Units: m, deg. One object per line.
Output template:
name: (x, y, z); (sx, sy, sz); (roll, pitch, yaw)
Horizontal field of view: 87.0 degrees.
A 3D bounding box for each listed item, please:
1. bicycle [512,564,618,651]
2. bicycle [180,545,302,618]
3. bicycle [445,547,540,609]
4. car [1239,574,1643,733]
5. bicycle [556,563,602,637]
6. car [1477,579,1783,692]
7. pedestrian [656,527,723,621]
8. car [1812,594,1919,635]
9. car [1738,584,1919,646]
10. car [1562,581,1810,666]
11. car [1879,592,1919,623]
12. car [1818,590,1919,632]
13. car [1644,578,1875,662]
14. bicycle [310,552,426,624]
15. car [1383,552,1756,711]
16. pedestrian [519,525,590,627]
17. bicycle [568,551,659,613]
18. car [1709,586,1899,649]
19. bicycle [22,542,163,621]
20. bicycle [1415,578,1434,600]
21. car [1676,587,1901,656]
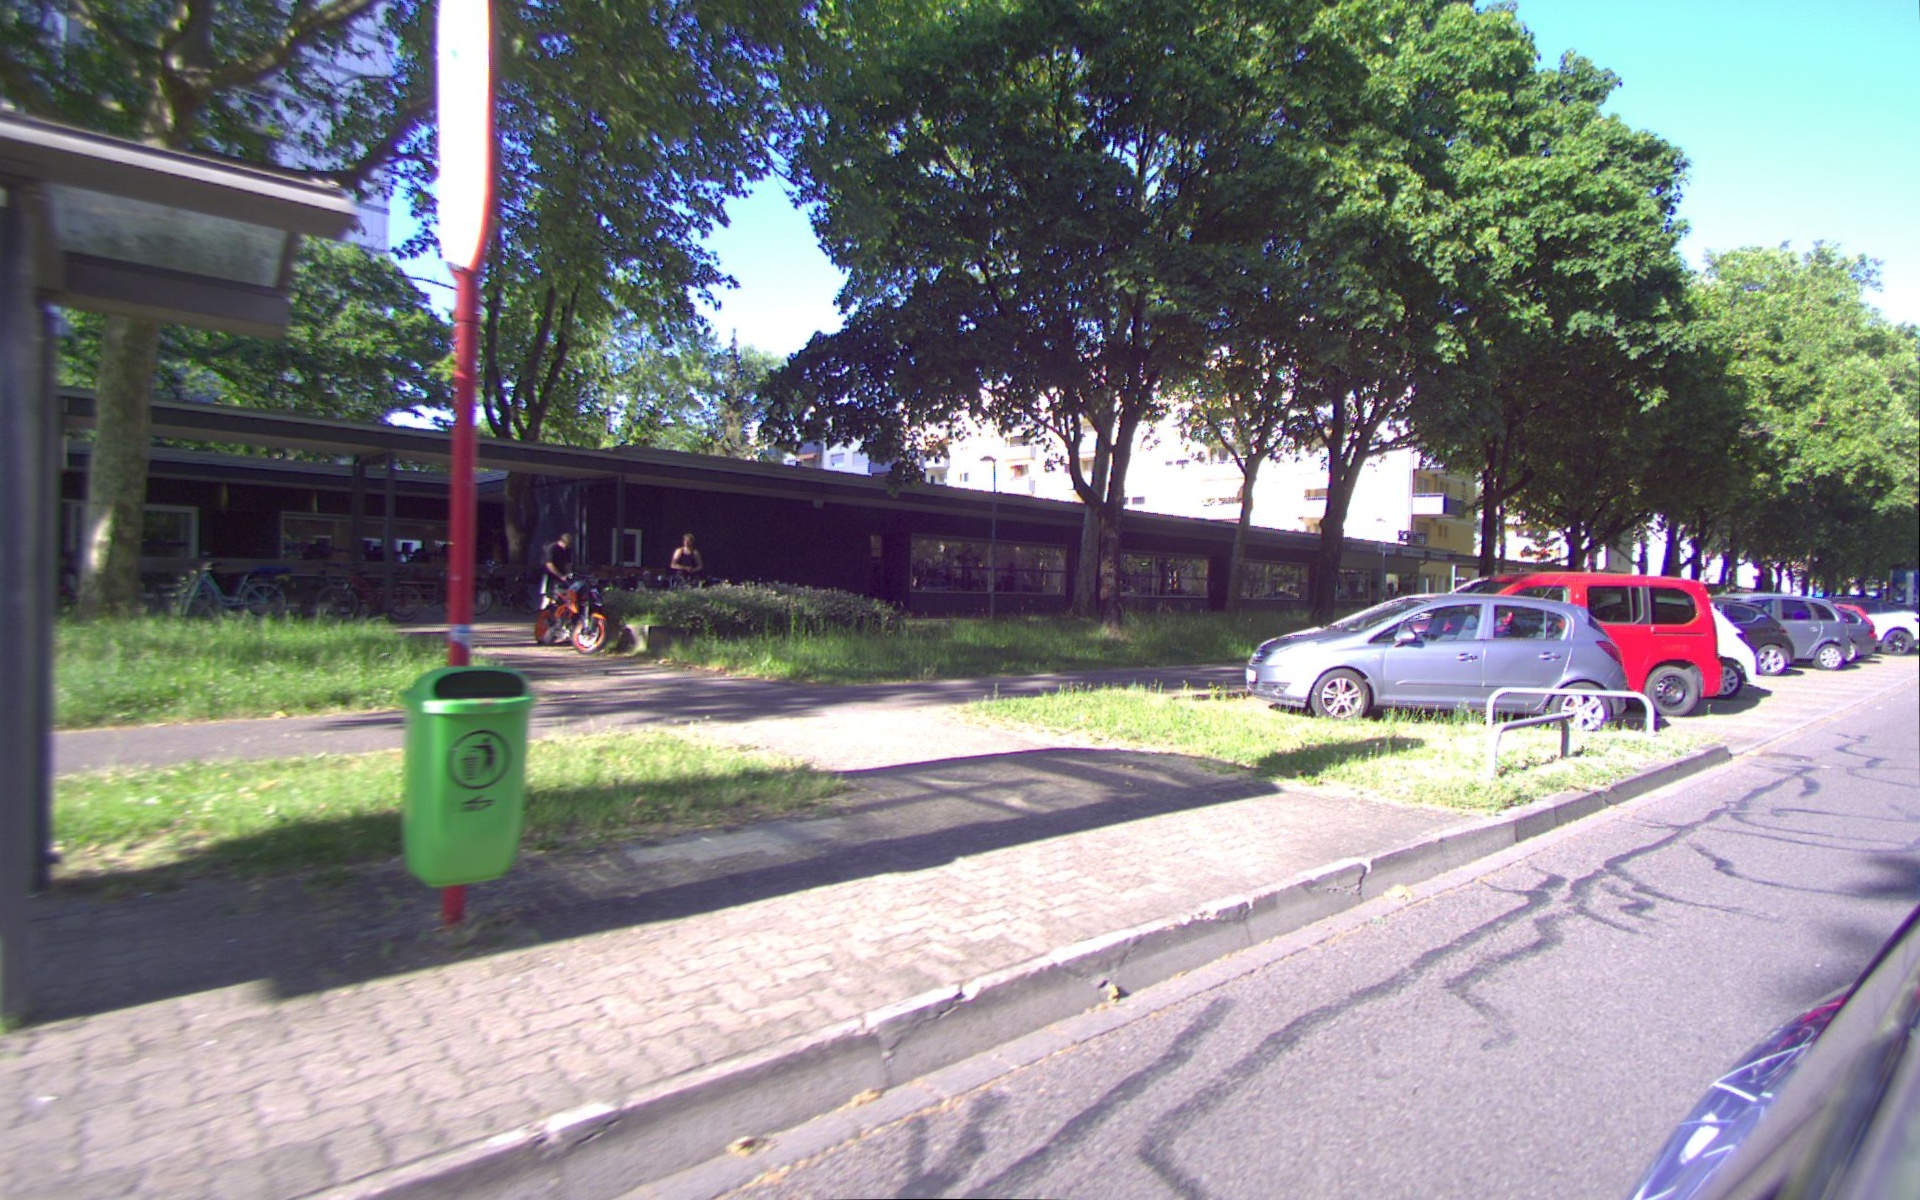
bicycle: (-5.937, 0.075, 15.160); (2.064, 1.172, 0.554); (4, 2, 41)
bicycle: (-13.106, -0.331, 18.473); (1.775, 1.269, 0.576); (0, 0, -41)
bicycle: (-9.994, -0.468, 21.667); (1.775, 1.269, 0.576); (0, 1, -41)
car: (5.251, 0.531, 11.465); (3.763, 1.490, 1.516); (2, 2, 6)
bicycle: (-6.576, -0.032, 17.427); (0.550, 1.172, 2.077); (1, 2, -25)
car: (10.417, 0.503, 15.976); (3.564, 1.513, 1.680); (2, 2, 6)
pedestrian: (-5.512, -0.536, 20.614); (0.963, 1.863, 0.938); (2, 2, 41)
car: (37.389, 0.612, 40.556); (4.591, 1.442, 1.999); (3, 2, 3)
car: (26.080, 0.413, 30.103); (4.230, 1.696, 1.864); (1, 0, 8)
car: (14.611, 0.445, 20.546); (3.677, 1.476, 1.682); (2, 2, 3)
car: (50.738, 0.457, 52.352); (4.418, 1.466, 1.899); (3, 2, 3)
car: (39.888, 0.510, 43.218); (4.591, 1.585, 1.999); (3, 2, 3)
car: (17.819, 0.418, 22.689); (3.654, 1.610, 1.700); (3, 2, 3)
bicycle: (-10.847, -0.225, 18.585); (1.775, 1.269, 0.576); (0, 0, -41)
car: (8.120, 0.357, 13.826); (3.882, 1.865, 1.767); (2, 2, 5)
pedestrian: (-7.155, -0.429, 17.845); (1.126, 1.729, 0.721); (2, 2, 42)
bicycle: (-7.461, -0.383, 21.820); (1.775, 1.269, 0.576); (0, 0, -41)
car: (22.978, 0.456, 27.676); (3.515, 1.437, 1.709); (3, 3, 7)
bicycle: (-14.586, -0.313, 17.062); (1.775, 1.269, 0.576); (0, 0, -41)
bicycle: (28.712, -0.699, 62.535); (1.633, 1.323, 0.505); (0, 0, -44)
car: (20.468, 0.501, 25.137); (4.012, 1.420, 1.686); (3, 2, 3)
